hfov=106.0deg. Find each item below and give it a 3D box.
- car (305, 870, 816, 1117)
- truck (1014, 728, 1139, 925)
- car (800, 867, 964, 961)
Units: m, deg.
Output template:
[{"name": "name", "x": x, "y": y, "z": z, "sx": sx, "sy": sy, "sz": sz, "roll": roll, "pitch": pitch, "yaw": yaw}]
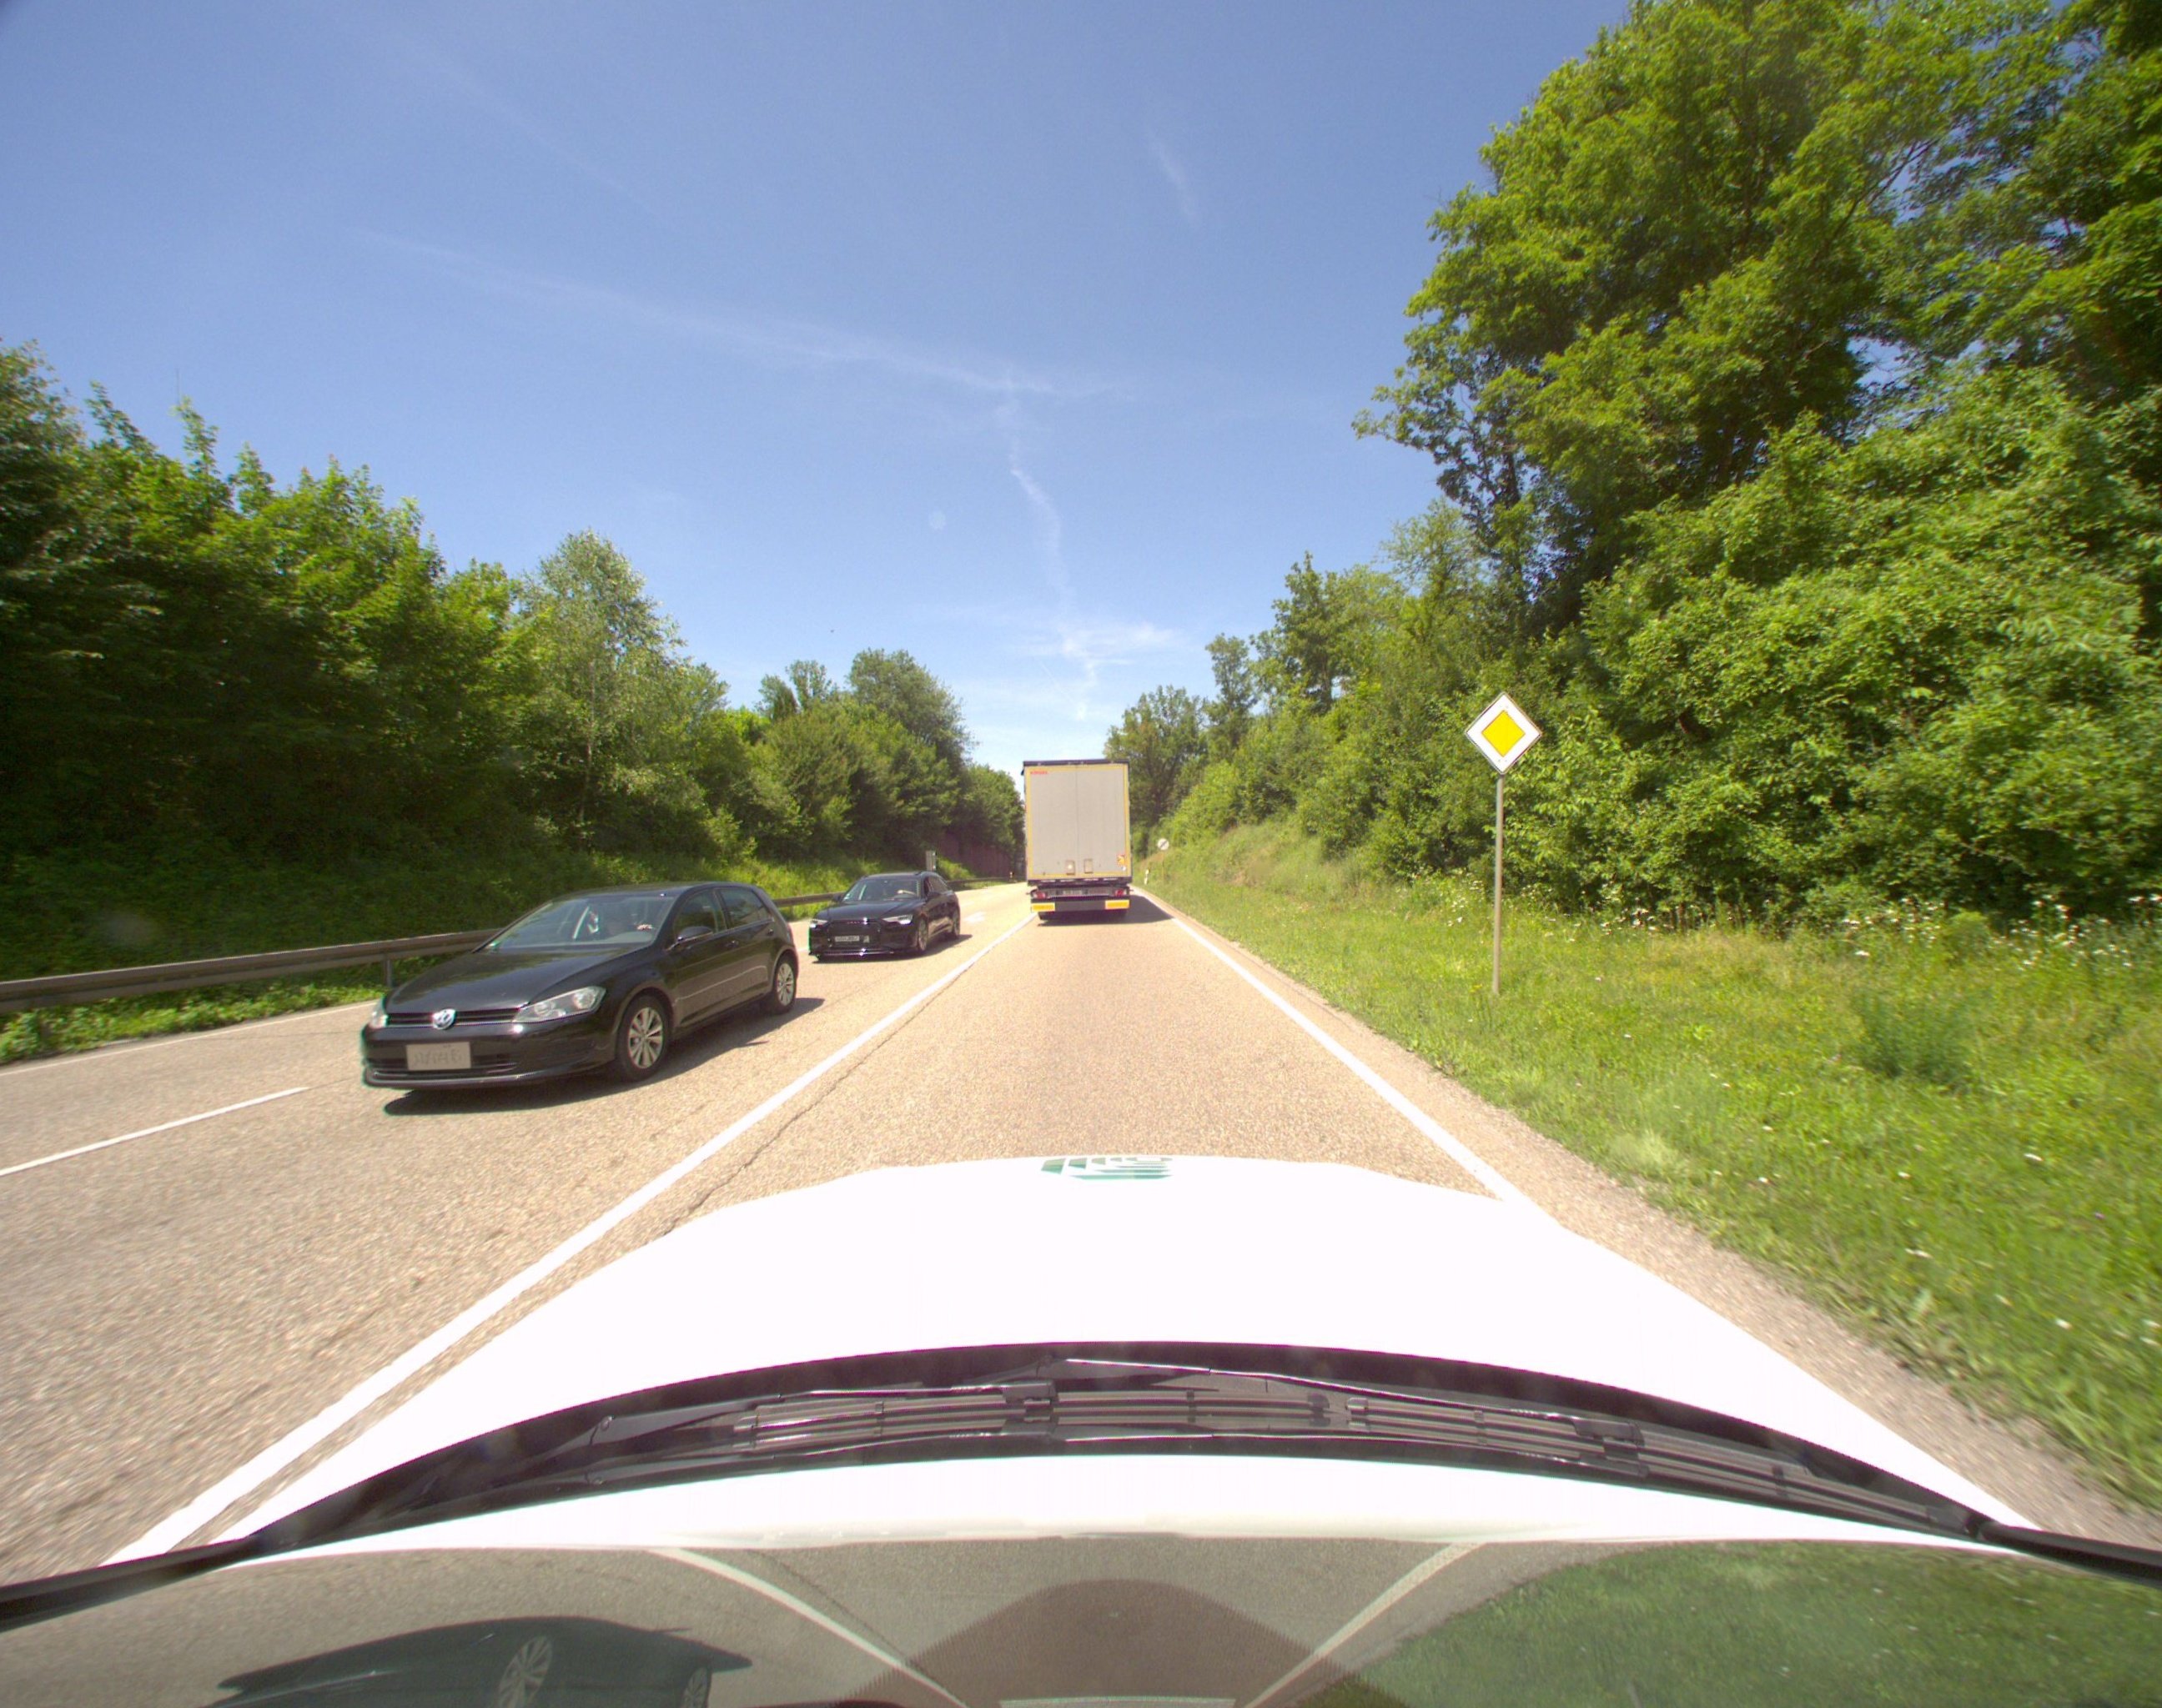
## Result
[{"name": "car", "x": -3.988, "y": 0.932, "z": 7.255, "sx": 1.675, "sy": 1.414, "sz": 4.184, "roll": -3, "pitch": 0, "yaw": 2}, {"name": "truck", "x": -0.072, "y": -0.642, "z": 22.780, "sx": 2.813, "sy": 4.604, "sz": 6.665, "roll": -2, "pitch": -1, "yaw": 1}, {"name": "car", "x": -3.550, "y": 1.015, "z": 15.406, "sx": 1.797, "sy": 1.453, "sz": 4.389, "roll": -2, "pitch": -1, "yaw": 2}]
